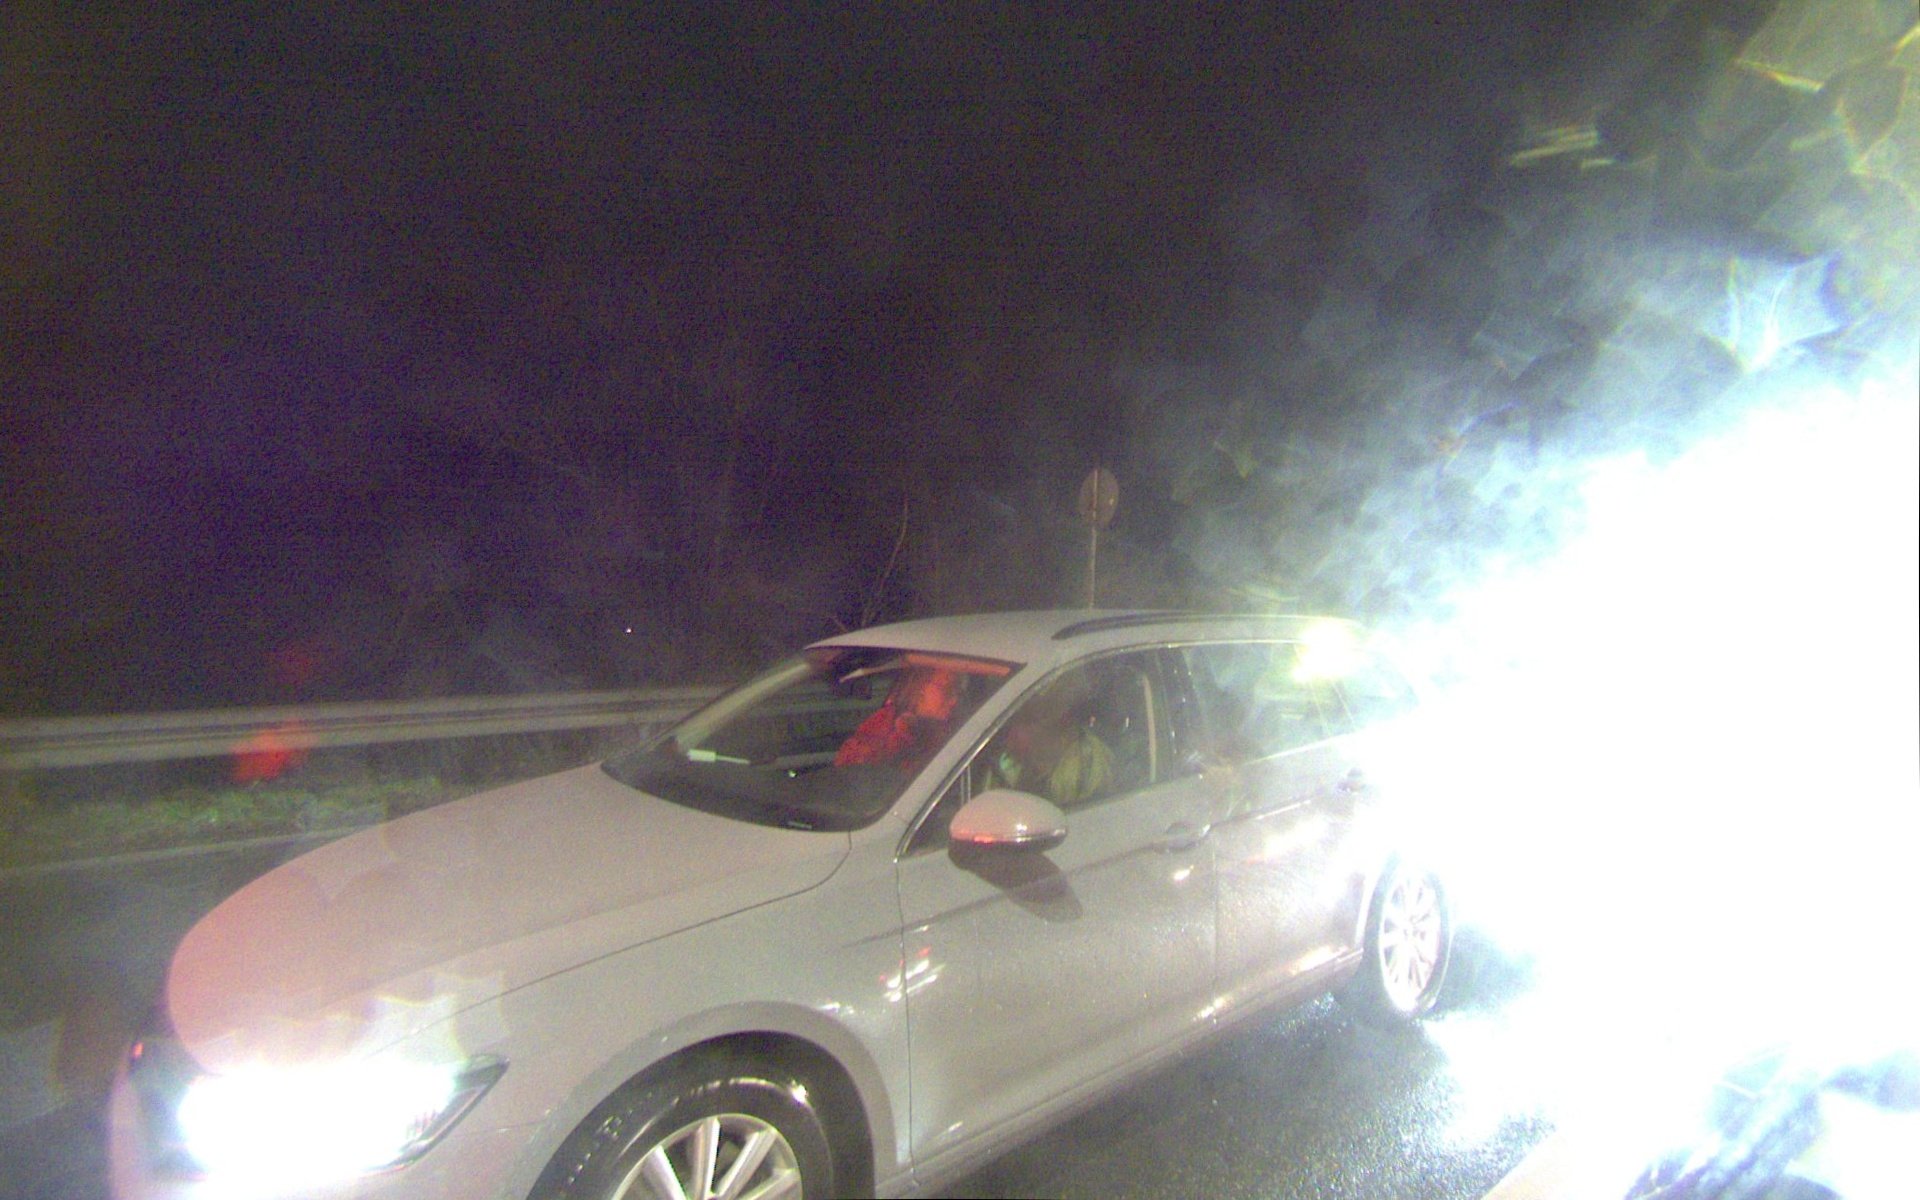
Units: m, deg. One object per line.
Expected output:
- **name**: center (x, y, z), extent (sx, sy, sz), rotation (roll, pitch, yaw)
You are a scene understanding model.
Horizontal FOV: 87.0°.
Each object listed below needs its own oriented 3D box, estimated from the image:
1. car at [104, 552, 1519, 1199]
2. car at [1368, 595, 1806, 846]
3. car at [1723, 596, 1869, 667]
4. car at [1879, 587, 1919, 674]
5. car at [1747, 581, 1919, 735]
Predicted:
- **car**: center (0.046, 0.685, 3.326), extent (4.336, 1.541, 1.710), rotation (-1, 0, -40)
- **car**: center (5.043, 0.696, 7.916), extent (4.067, 1.435, 1.742), rotation (-1, 0, -40)
- **car**: center (19.818, 0.703, 23.926), extent (4.263, 1.500, 1.996), rotation (-1, -1, -42)
- **car**: center (19.818, 0.564, 19.967), extent (4.315, 1.618, 1.997), rotation (-1, 2, -41)
- **car**: center (11.545, 0.596, 12.564), extent (4.315, 1.618, 1.997), rotation (-1, 2, -41)
